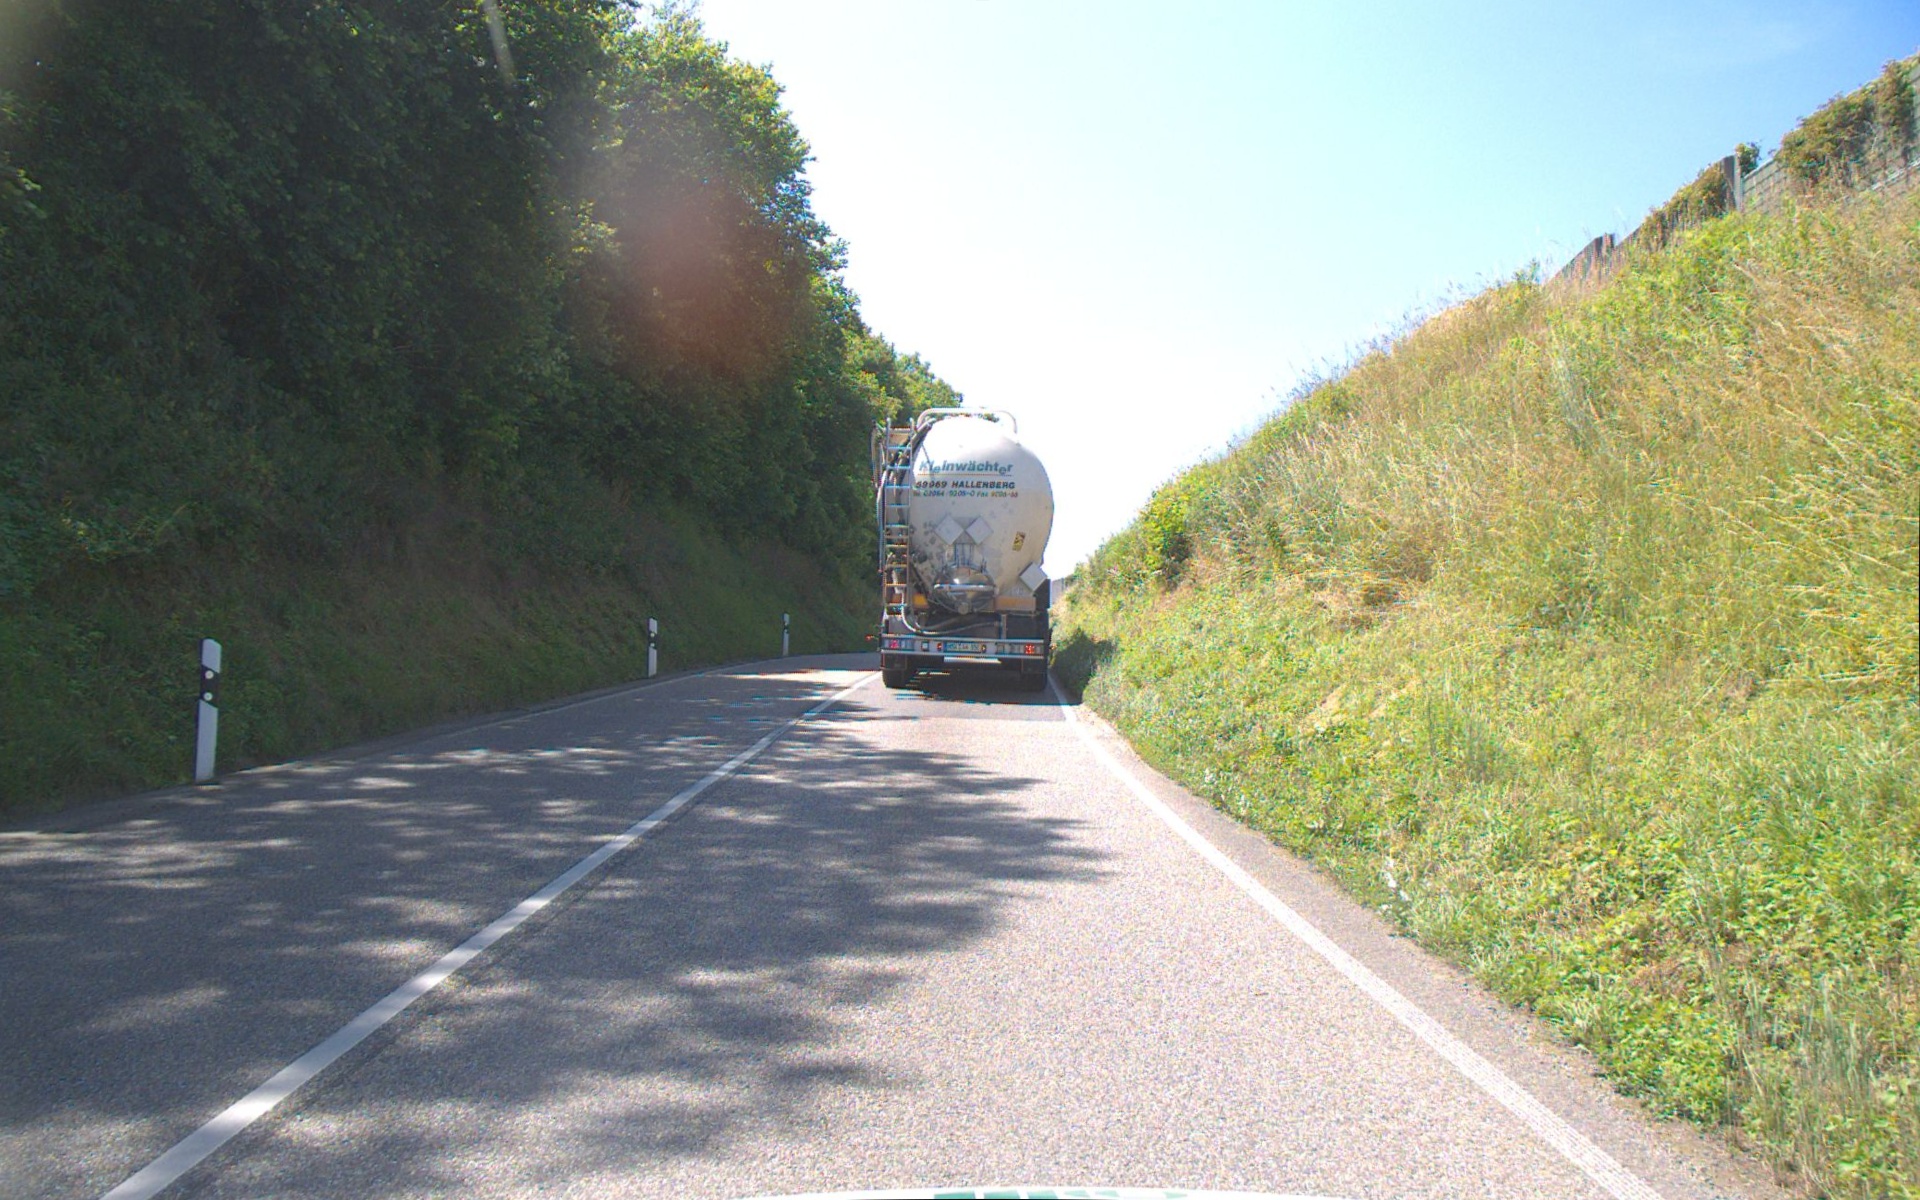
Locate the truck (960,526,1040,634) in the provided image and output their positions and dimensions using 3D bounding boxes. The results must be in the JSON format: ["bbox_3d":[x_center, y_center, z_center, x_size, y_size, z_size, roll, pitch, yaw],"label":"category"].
[{"bbox_3d":[1.834,-0.812,76.421,3.125,4.384,11.801,4,0,1],"label":"truck"}]

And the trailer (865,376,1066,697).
[{"bbox_3d":[0.139,-0.868,28.190,2.606,4.262,11.905,1,0,1],"label":"trailer"}]

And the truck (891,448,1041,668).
[{"bbox_3d":[0.251,-0.722,34.131,2.670,3.999,7.264,2,-1,2],"label":"truck"}]
